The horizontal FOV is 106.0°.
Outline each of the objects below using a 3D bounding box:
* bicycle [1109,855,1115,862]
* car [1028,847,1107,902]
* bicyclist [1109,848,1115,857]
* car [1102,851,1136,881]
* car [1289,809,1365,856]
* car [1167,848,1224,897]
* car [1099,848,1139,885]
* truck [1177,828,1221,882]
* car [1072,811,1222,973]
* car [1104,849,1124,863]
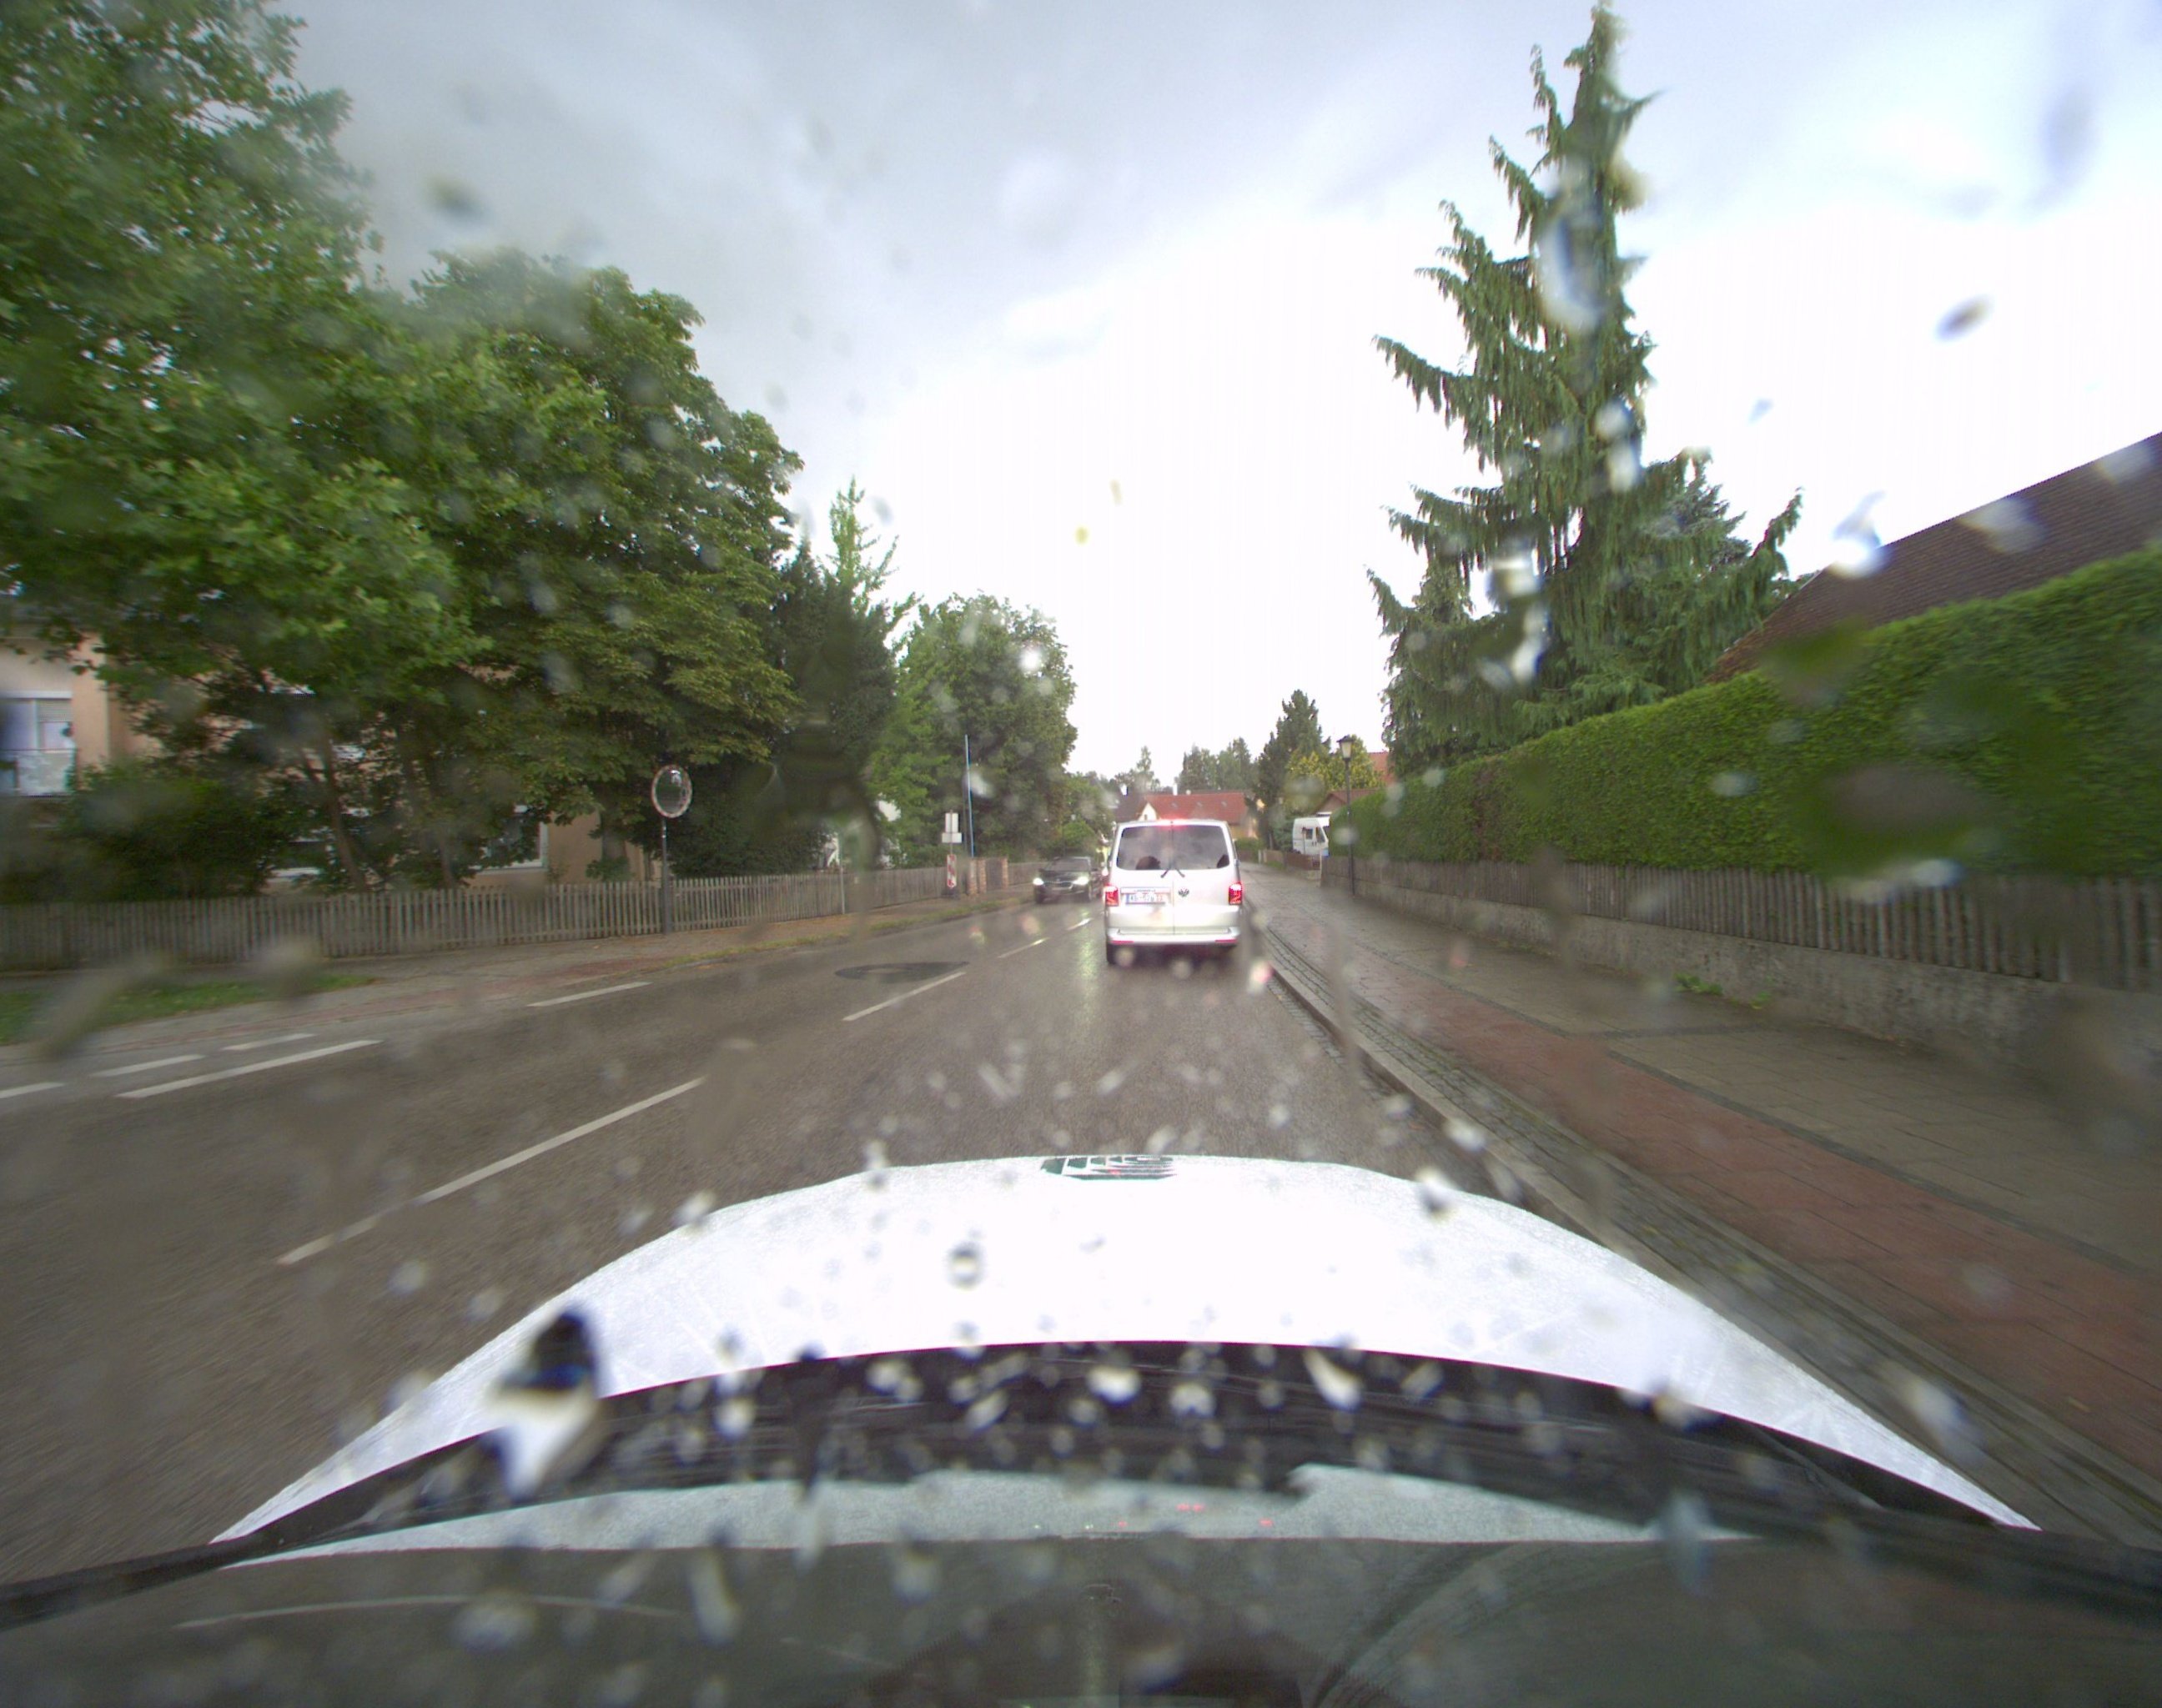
[{"bbox_3d":[3.686,0.520,96.690,0.453,0.798,1.982,-1,0,8],"label":"bicycle"},{"bbox_3d":[-0.347,0.659,27.112,1.773,1.663,4.459,-1,-1,10],"label":"car"},{"bbox_3d":[3.677,-0.208,96.666,0.584,1.021,1.063,-1,0,8],"label":"bicyclist"},{"bbox_3d":[2.332,0.720,49.256,1.631,1.765,4.340,0,-1,8],"label":"car"},{"bbox_3d":[12.264,-1.008,40.892,1.990,2.173,4.944,0,-1,-5],"label":"car"},{"bbox_3d":[3.981,0.626,28.241,1.790,1.588,4.009,0,-1,8],"label":"car"},{"bbox_3d":[1.997,0.638,41.567,1.631,1.765,4.340,0,-1,8],"label":"car"},{"bbox_3d":[7.271,0.085,50.085,2.461,3.074,6.310,0,-1,8],"label":"truck"},{"bbox_3d":[1.158,0.493,12.255,1.789,2.014,4.012,-1,-1,11],"label":"car"},{"bbox_3d":[4.792,0.240,120.149,1.995,2.014,3.982,0,-1,-13],"label":"car"}]
